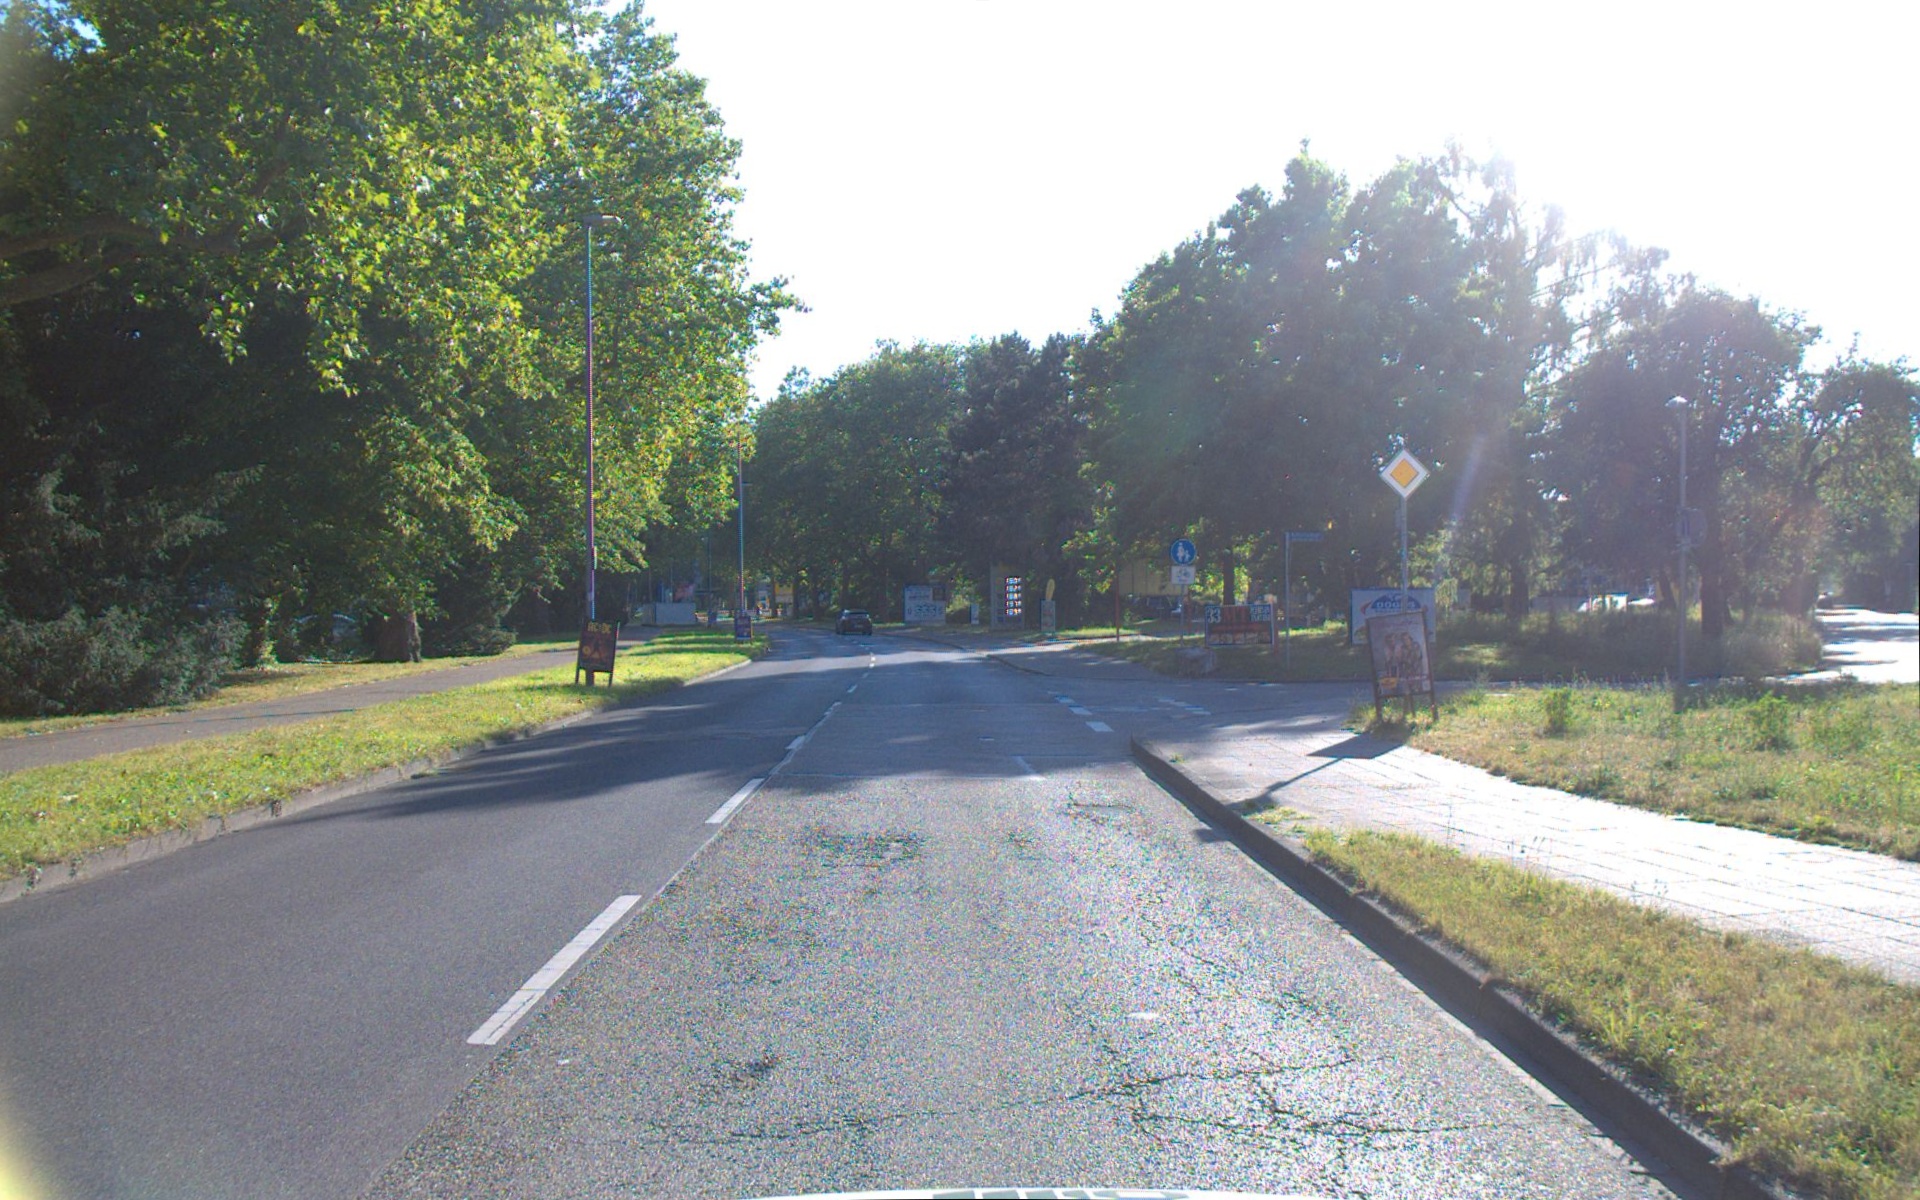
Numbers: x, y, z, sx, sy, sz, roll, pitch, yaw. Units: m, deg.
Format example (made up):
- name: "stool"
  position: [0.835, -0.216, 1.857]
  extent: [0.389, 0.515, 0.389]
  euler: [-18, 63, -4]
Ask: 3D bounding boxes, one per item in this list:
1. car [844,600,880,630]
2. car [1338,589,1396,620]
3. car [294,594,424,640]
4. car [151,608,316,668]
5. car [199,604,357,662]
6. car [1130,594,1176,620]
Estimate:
- name: "car"
  position: [-5.612, 0.842, 94.929]
  extent: [1.802, 1.633, 3.862]
  euler: [-1, 0, -1]
- name: "car"
  position: [23.754, 0.249, 96.624]
  extent: [1.778, 1.758, 4.391]
  euler: [-1, 0, -8]
- name: "car"
  position: [-20.870, 0.597, 57.587]
  extent: [3.912, 1.534, 1.909]
  euler: [1, -1, -8]
- name: "car"
  position: [-19.525, 1.001, 44.592]
  extent: [3.654, 1.526, 1.812]
  euler: [-1, 0, -6]
- name: "car"
  position: [-20.588, 0.973, 50.064]
  extent: [4.049, 1.624, 1.949]
  euler: [-1, 0, -10]
- name: "car"
  position: [10.988, 0.375, 94.312]
  extent: [1.805, 1.445, 3.996]
  euler: [-1, 0, -5]
